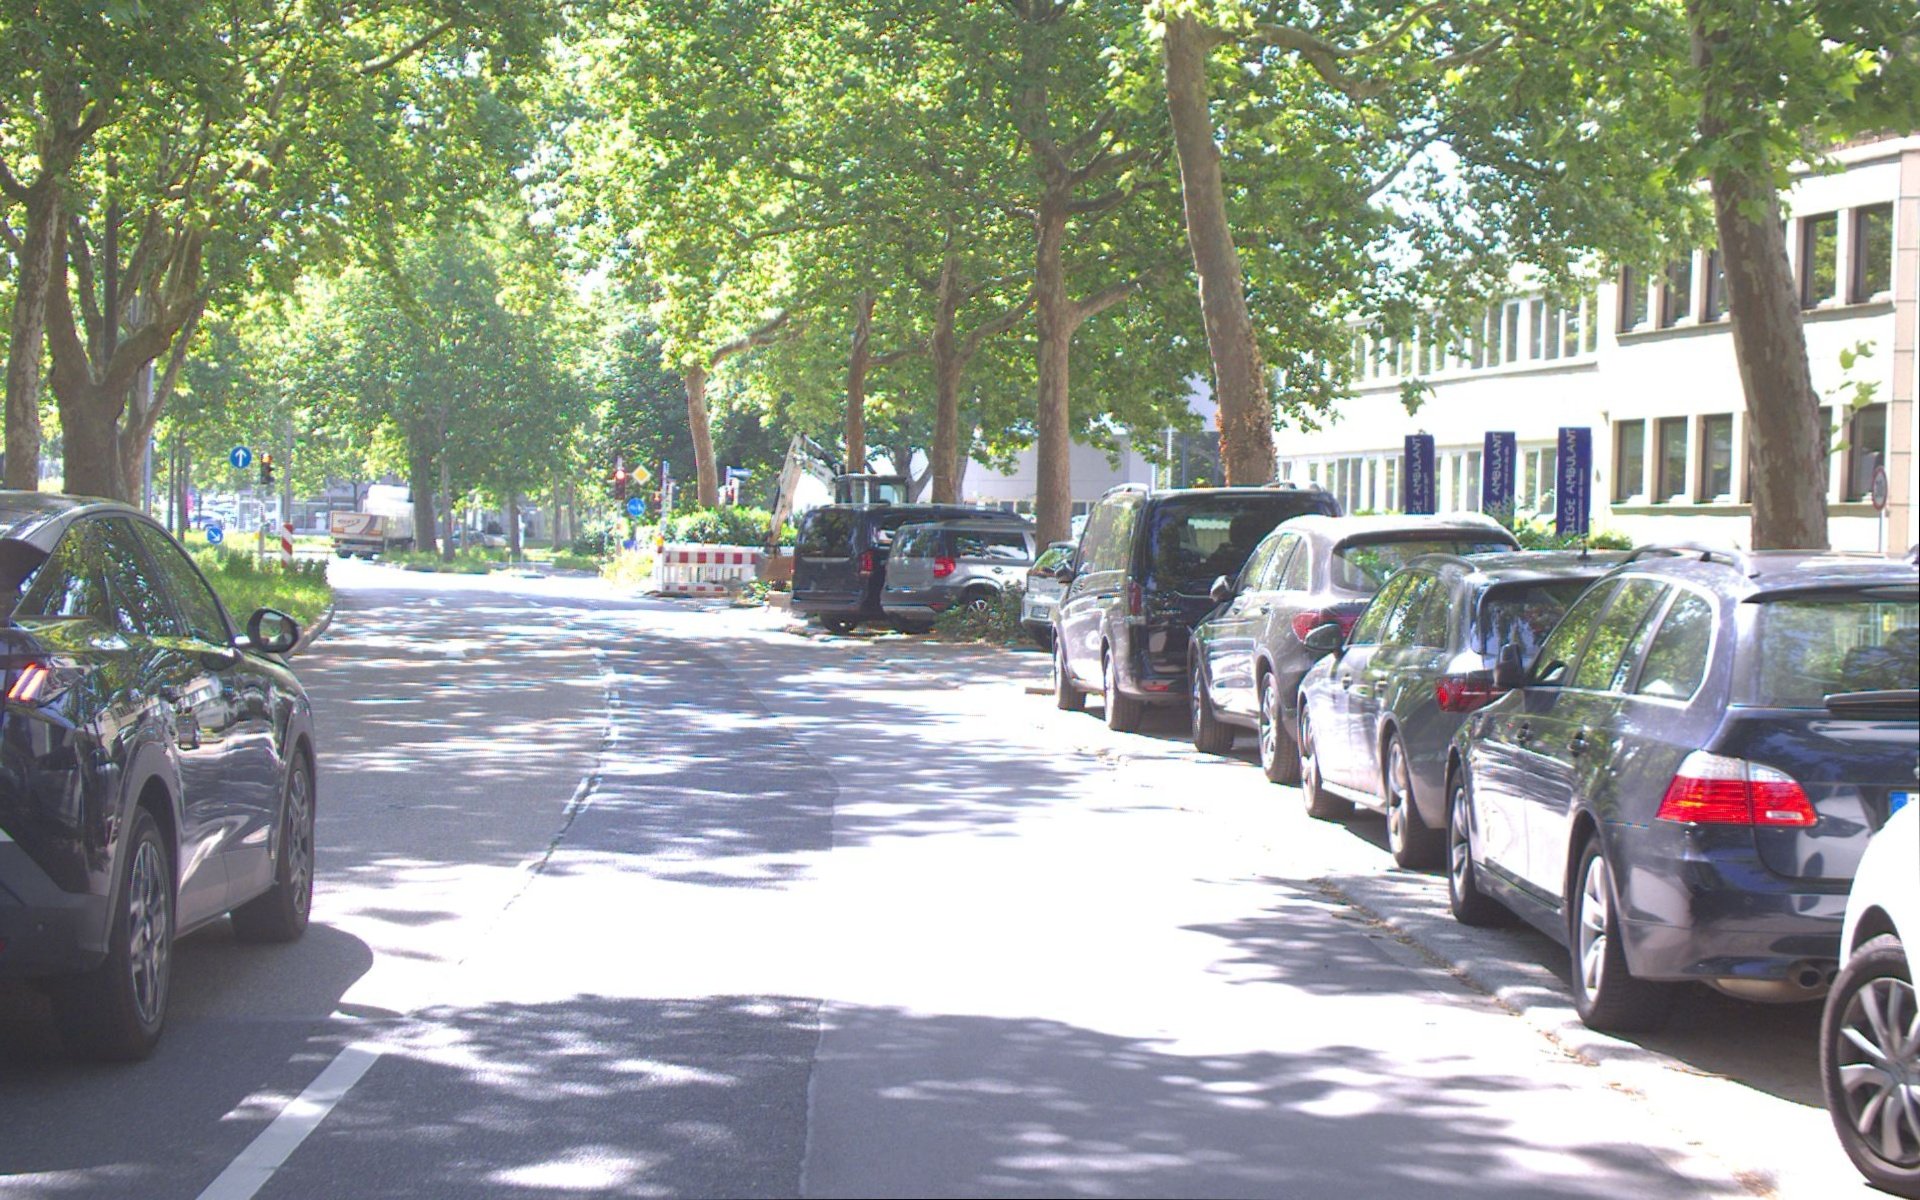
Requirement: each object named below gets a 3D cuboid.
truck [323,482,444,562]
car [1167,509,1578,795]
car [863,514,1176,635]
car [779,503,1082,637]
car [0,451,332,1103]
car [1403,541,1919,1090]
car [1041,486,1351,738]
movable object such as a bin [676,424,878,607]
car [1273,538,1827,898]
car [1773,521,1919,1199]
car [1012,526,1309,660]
[{"bbox_3d":[-27.438,-3.690,163.728,5.525,3.665,2.000,1,1,-6],"label":"truck"},{"bbox_3d":[2.578,0.260,22.590,1.706,1.664,4.535,1,1,-6],"label":"car"},{"bbox_3d":[0.845,-0.370,49.127,4.098,1.627,1.713,1,1,-21],"label":"car"},{"bbox_3d":[-0.440,-0.445,50.993,4.099,1.873,1.785,1,1,-22],"label":"car"},{"bbox_3d":[-3.292,0.422,11.103,1.872,1.690,4.436,0,1,-2],"label":"car"},{"bbox_3d":[2.692,0.554,11.612,1.706,1.450,4.656,1,1,-1],"label":"car"},{"bbox_3d":[1.815,0.037,27.891,1.706,1.835,4.727,1,1,-6],"label":"car"},{"bbox_3d":[-3.392,-1.555,63.202,2.328,3.230,3.431,1,1,-30],"label":"movable object such as a bin"},{"bbox_3d":[2.717,0.467,16.879,1.706,1.482,4.485,1,1,-3],"label":"car"},{"bbox_3d":[2.894,0.612,6.413,1.706,1.482,4.101,1,1,-1],"label":"car"},{"bbox_3d":[2.570,-0.101,44.554,3.551,1.634,1.659,1,1,-8],"label":"car"}]
